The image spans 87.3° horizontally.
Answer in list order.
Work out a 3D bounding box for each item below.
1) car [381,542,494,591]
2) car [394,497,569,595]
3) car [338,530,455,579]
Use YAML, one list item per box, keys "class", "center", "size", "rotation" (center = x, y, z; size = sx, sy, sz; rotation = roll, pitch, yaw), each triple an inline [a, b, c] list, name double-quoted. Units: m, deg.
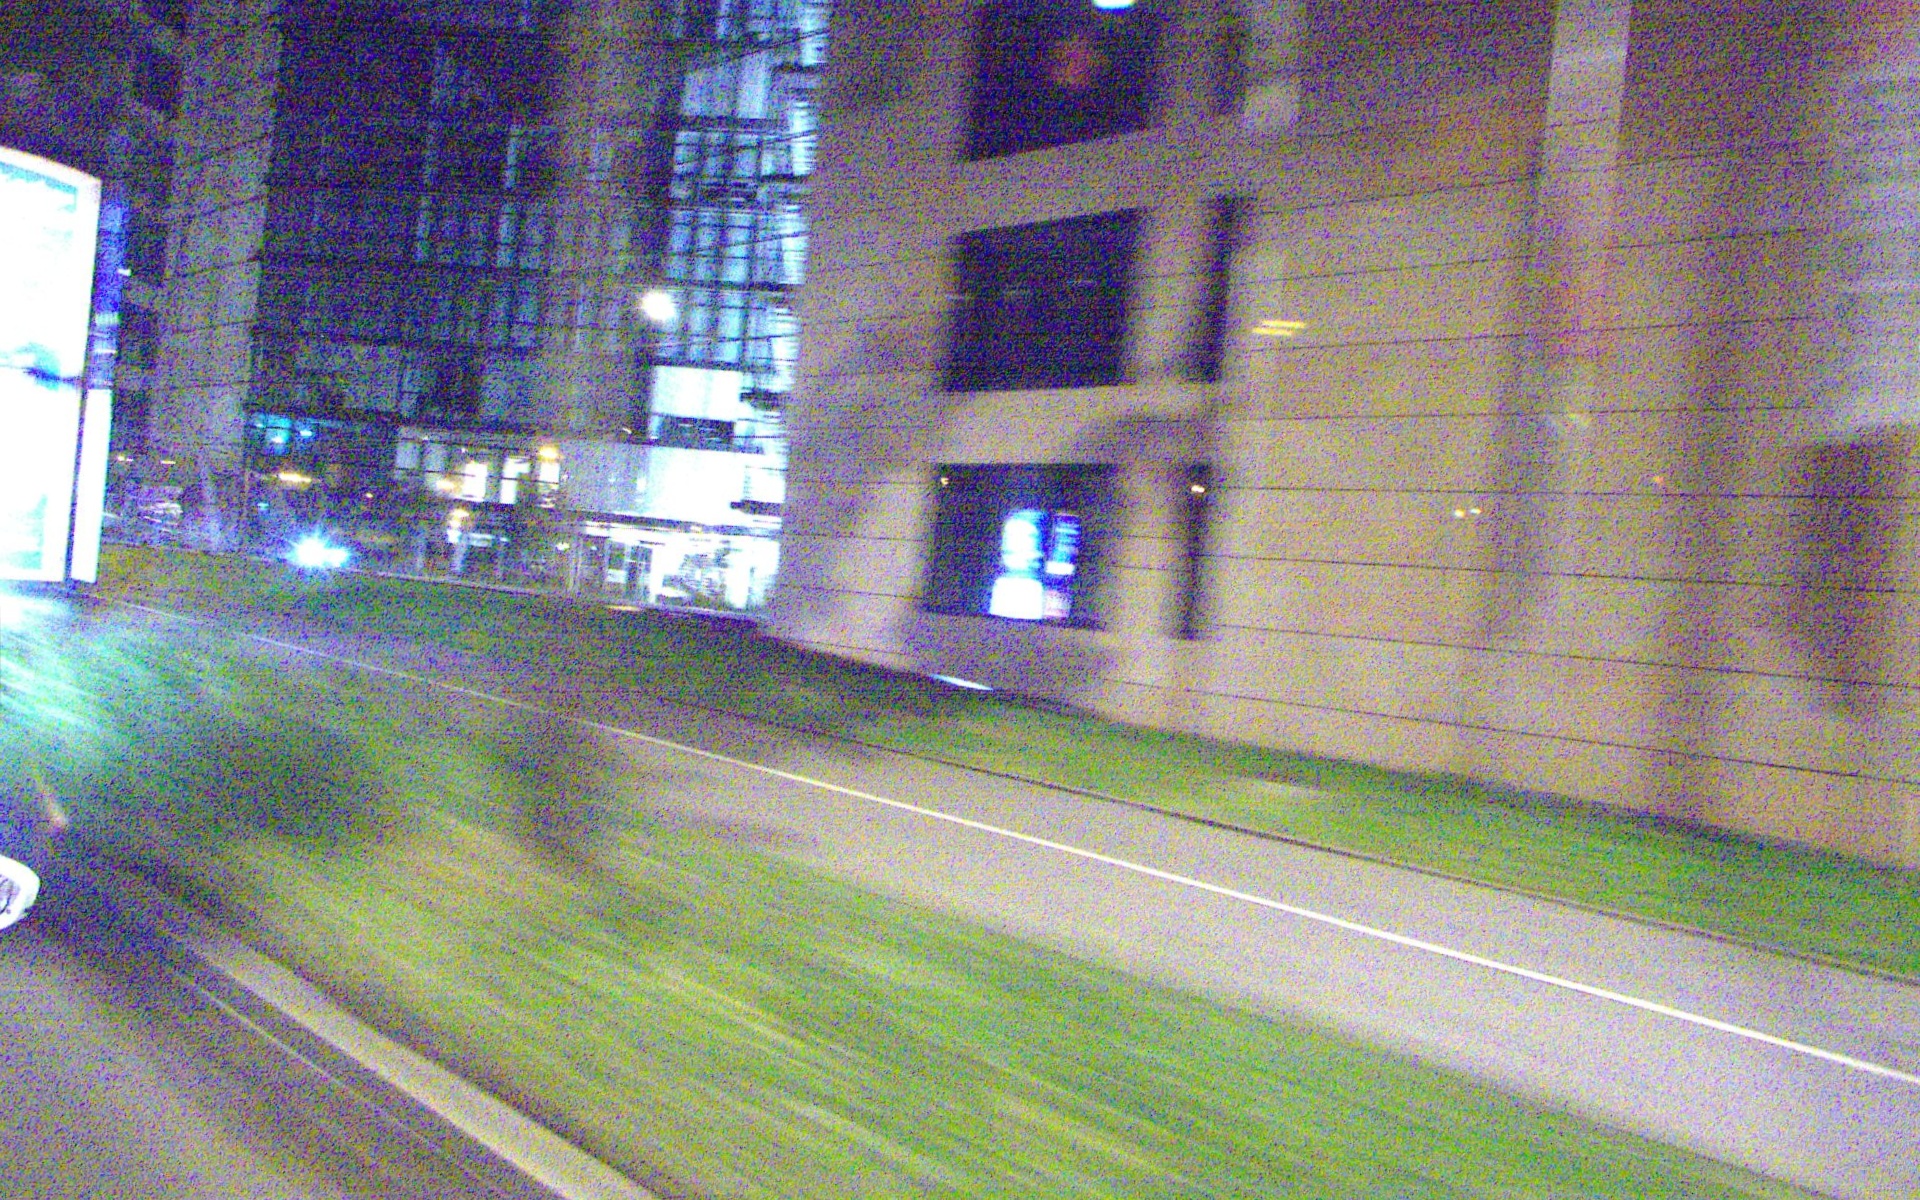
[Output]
- class: "car"
  center: [-15.639, -0.980, 30.262]
  size: [1.276, 1.098, 3.174]
  rotation: [8, -1, 9]
- class: "car"
  center: [-11.768, -1.265, 25.052]
  size: [1.962, 1.885, 3.779]
  rotation: [8, 0, 9]
- class: "car"
  center: [-17.733, -1.403, 31.841]
  size: [1.297, 1.107, 3.439]
  rotation: [8, -1, 9]
